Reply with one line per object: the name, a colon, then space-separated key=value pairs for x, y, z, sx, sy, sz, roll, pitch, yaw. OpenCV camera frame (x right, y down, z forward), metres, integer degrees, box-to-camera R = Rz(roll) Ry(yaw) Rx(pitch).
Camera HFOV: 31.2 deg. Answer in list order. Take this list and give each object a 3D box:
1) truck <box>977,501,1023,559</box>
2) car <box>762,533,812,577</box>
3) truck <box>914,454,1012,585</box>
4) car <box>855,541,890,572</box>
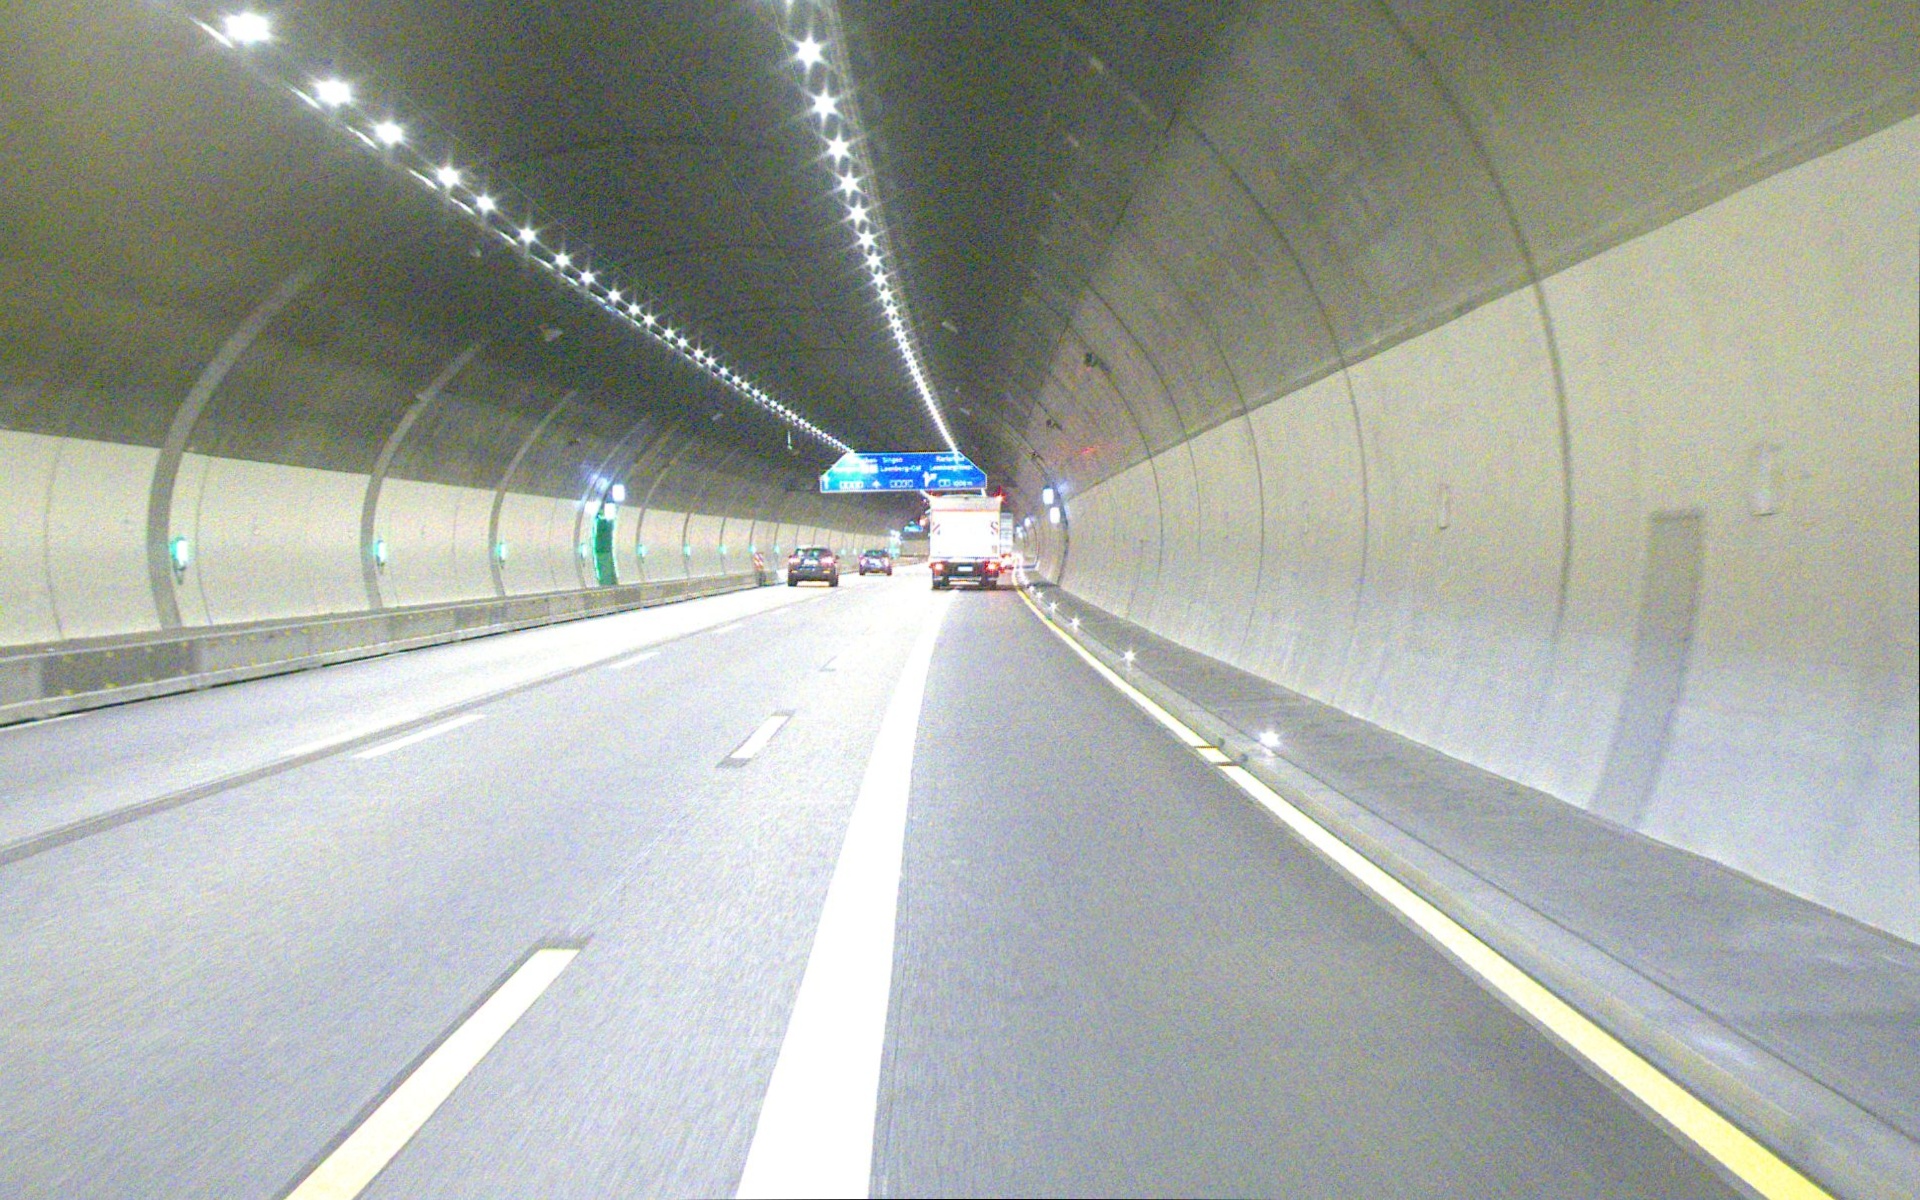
truck: x=2.857 y=-5.036 z=249.224 sx=2.922 sy=4.034 sz=14.030 roll=-1 pitch=1 yaw=-1
car: x=-6.624 y=-1.745 z=131.975 sx=1.812 sy=1.612 sz=4.001 roll=0 pitch=1 yaw=-2
truck: x=-0.010 y=-3.044 z=131.996 sx=3.278 sy=4.634 sz=17.288 roll=-1 pitch=1 yaw=-1
car: x=-4.799 y=-2.382 z=187.452 sx=1.812 sy=1.514 sz=4.001 roll=0 pitch=3 yaw=-3
